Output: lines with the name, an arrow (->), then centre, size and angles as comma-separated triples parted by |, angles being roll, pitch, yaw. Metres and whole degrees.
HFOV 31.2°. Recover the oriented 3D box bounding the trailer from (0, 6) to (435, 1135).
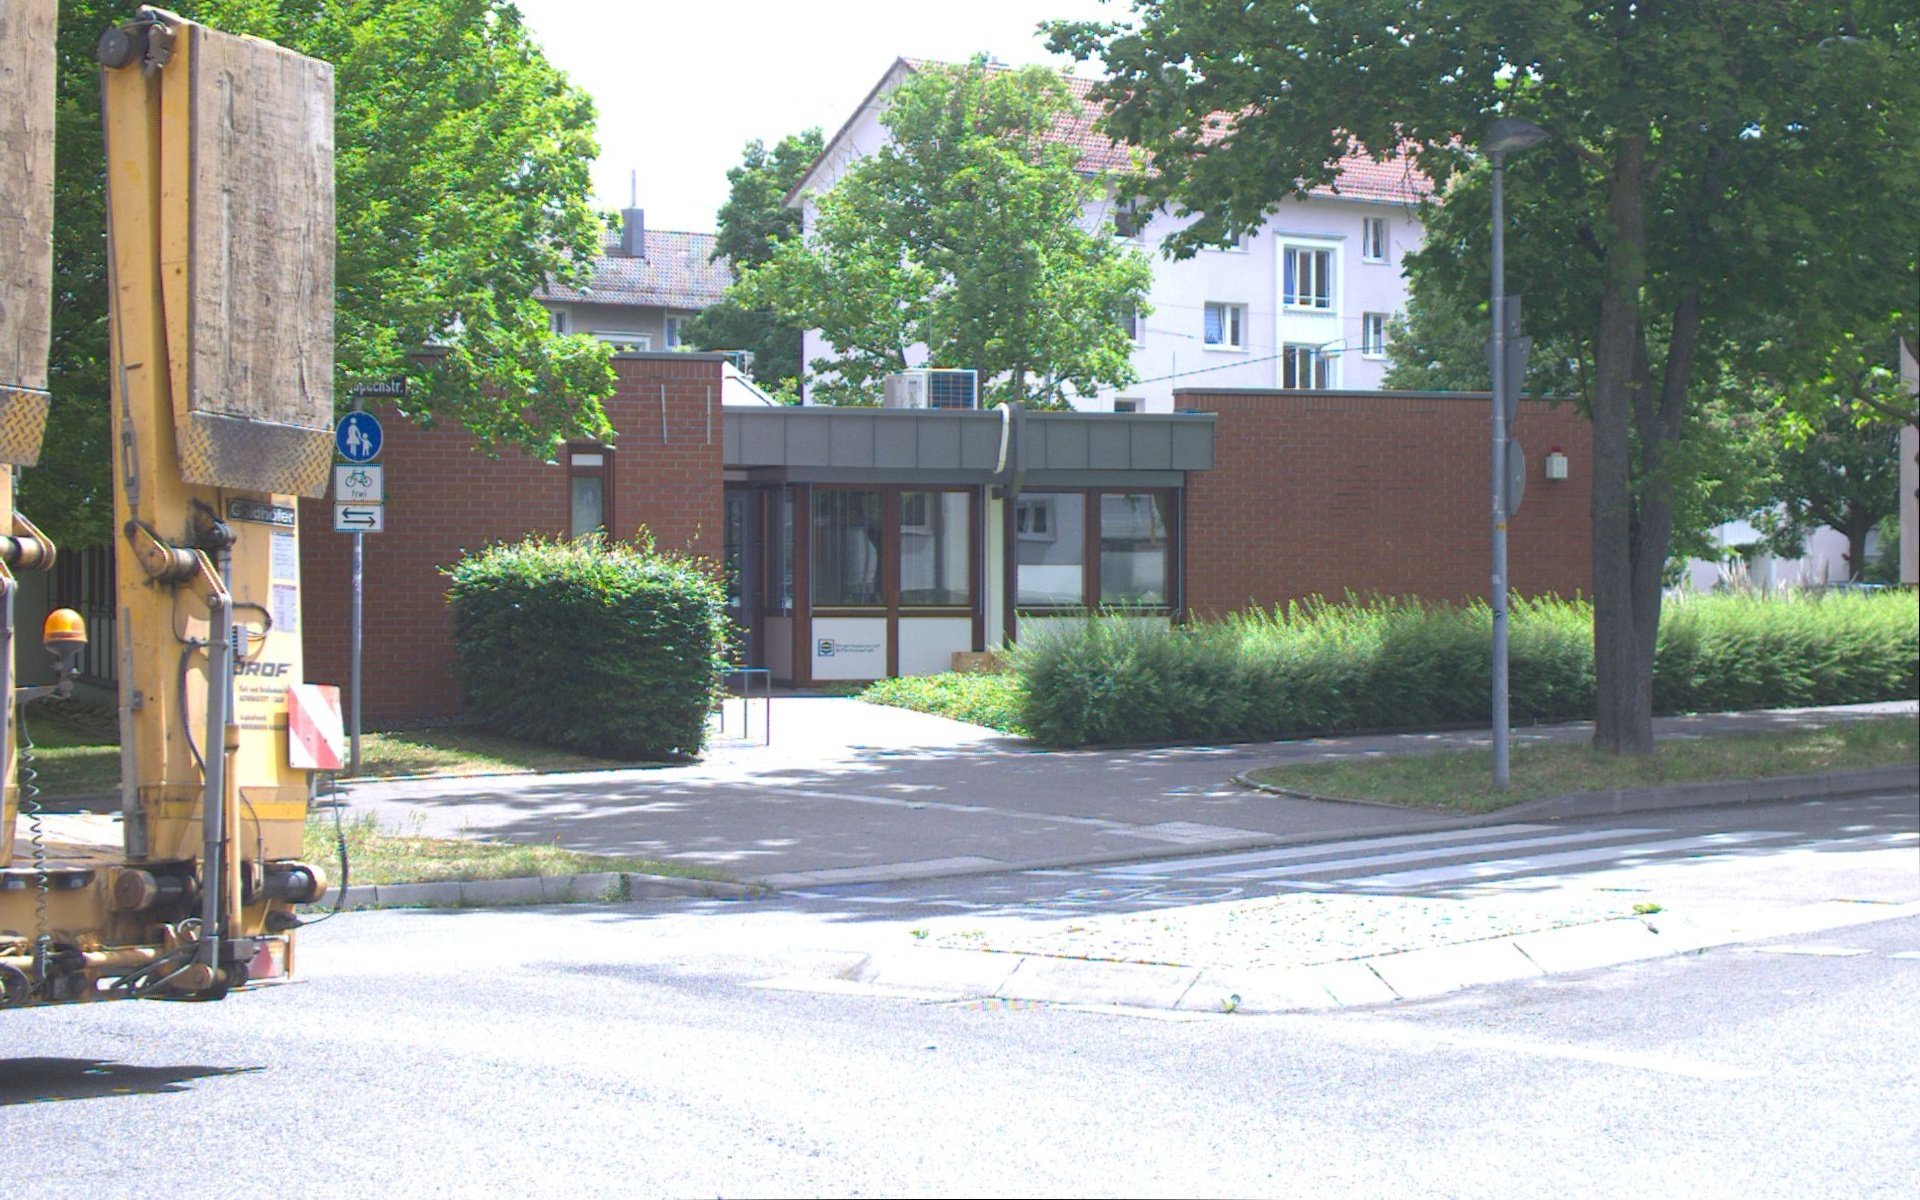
trailer -> -7.282, -0.247, 13.403 | 10.823, 3.361, 2.868 | 2, 1, 29
